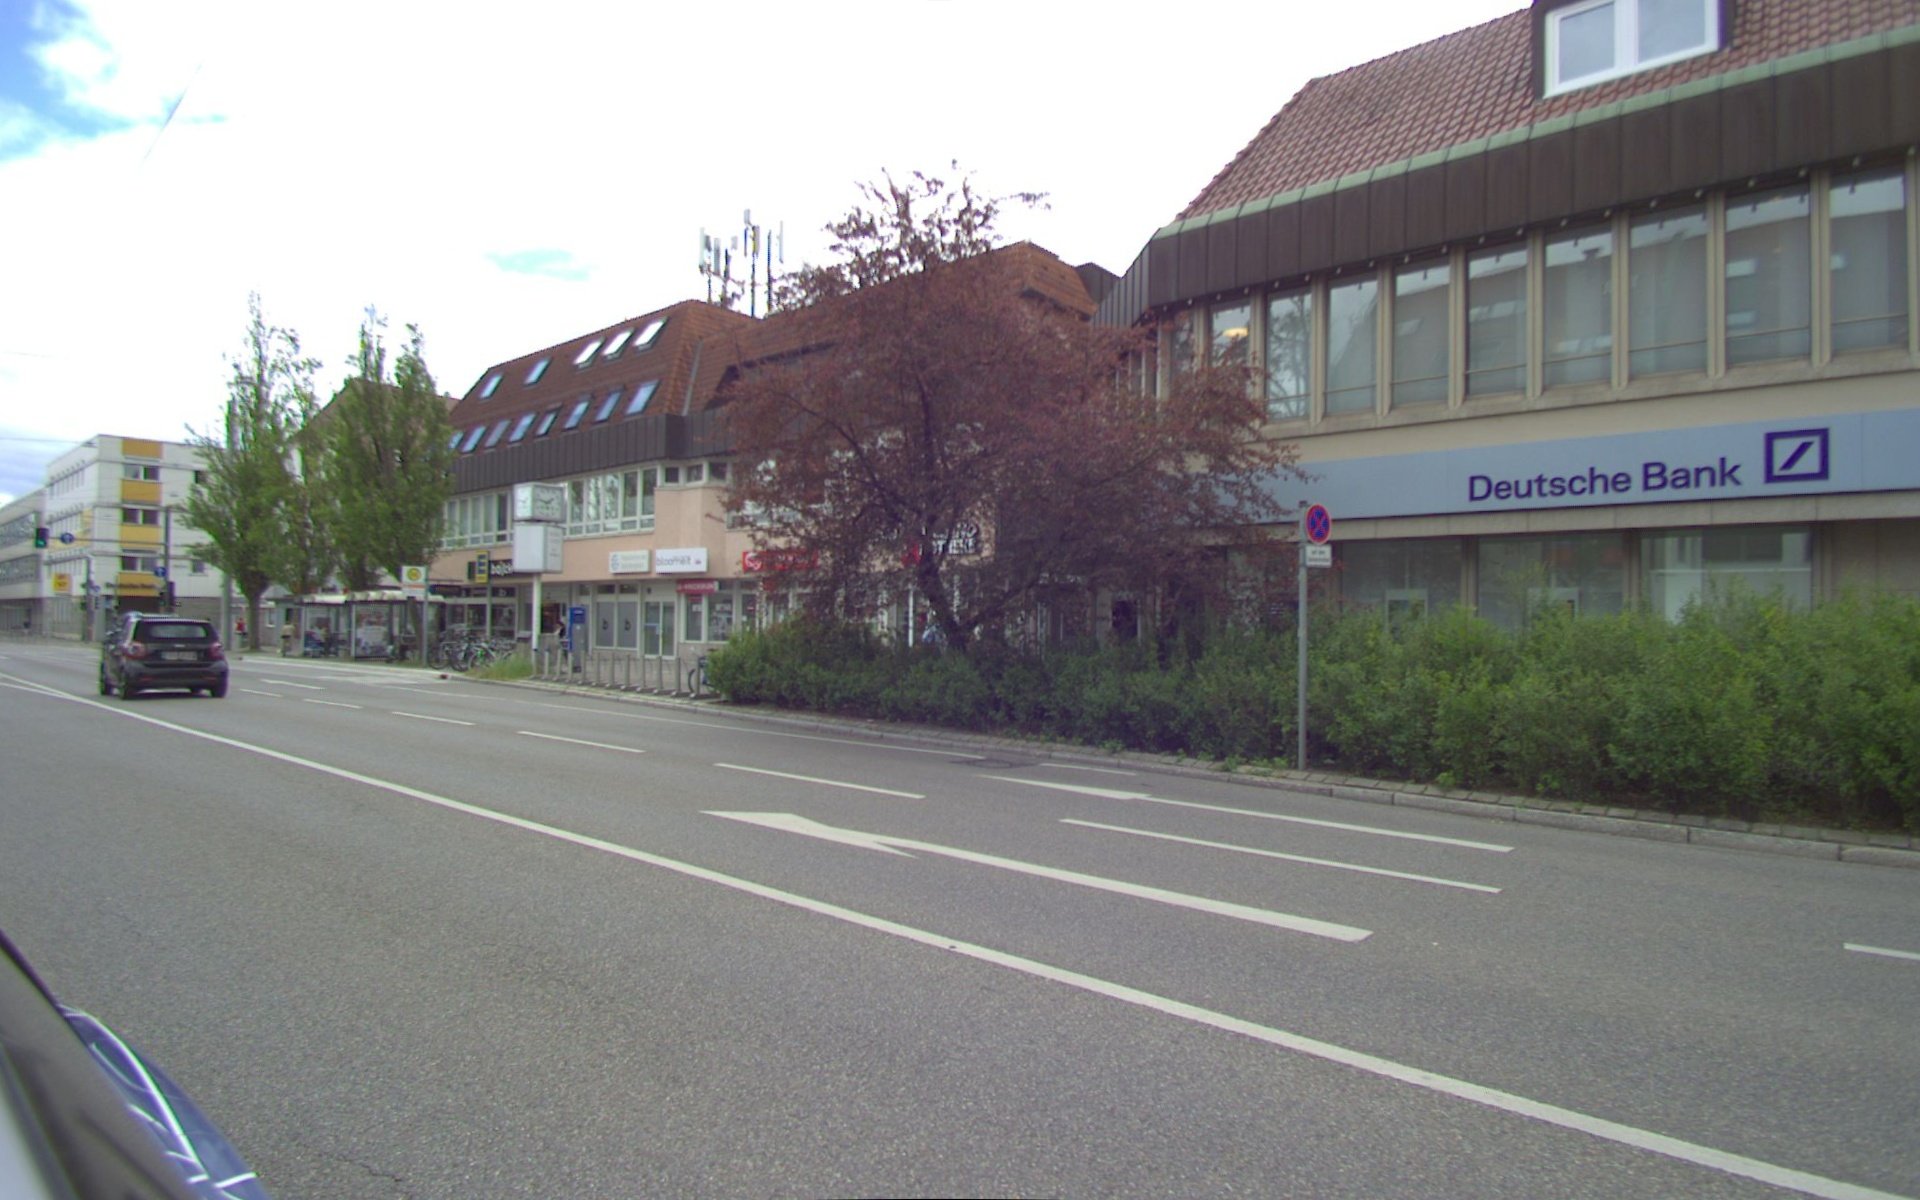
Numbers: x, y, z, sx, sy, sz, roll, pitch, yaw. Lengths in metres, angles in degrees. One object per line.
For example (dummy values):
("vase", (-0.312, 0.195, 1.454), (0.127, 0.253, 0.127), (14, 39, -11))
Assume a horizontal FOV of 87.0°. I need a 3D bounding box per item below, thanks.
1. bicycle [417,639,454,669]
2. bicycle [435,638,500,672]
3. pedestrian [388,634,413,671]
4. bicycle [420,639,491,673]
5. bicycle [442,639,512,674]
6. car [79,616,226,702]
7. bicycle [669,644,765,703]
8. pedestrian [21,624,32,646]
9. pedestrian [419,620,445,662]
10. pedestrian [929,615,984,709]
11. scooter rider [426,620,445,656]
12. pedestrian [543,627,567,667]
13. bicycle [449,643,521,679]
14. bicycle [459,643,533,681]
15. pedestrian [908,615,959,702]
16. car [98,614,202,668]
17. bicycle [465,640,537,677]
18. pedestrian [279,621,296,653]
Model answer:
("bicycle", (-19.933, 2.051, 38.447), (1.928, 1.098, 0.528), (-1, -2, 39))
("bicycle", (-16.734, 1.865, 34.434), (0.646, 1.098, 2.006), (-1, -2, 26))
("pedestrian", (-21.343, 1.993, 38.595), (0.588, 1.374, 0.704), (-3, -3, 43))
("bicycle", (-16.545, 1.827, 33.227), (0.648, 1.098, 2.000), (-1, -3, 36))
("bicycle", (-15.595, 1.798, 32.718), (0.647, 1.098, 2.003), (-1, -2, 31))
("car", (-15.844, 1.120, 19.837), (2.956, 1.552, 1.555), (-1, -3, 38))
("bicycle", (-4.835, 1.438, 20.297), (0.647, 1.098, 2.003), (-1, -2, 31))
("pedestrian", (-77.572, 2.896, 84.093), (0.526, 1.817, 0.580), (-2, 0, 40))
("pedestrian", (-22.964, 1.779, 43.979), (0.754, 1.777, 0.719), (-2, 0, 38))
("pedestrian", (-0.068, 1.208, 20.006), (0.754, 1.777, 0.719), (-2, 0, 38))
("scooter rider", (-25.611, 1.839, 49.404), (0.587, 1.725, 0.607), (-2, 0, 37))
("pedestrian", (-15.931, 1.856, 39.812), (0.587, 1.559, 0.704), (-2, -3, 40))
("bicycle", (-14.859, 1.894, 31.717), (0.647, 1.098, 2.003), (-1, -2, 31))
("bicycle", (-13.906, 1.844, 30.393), (0.647, 1.098, 2.003), (-1, -2, 31))
("pedestrian", (-0.575, 1.247, 21.857), (0.756, 1.777, 0.717), (-2, 1, 45))
("car", (-28.776, 1.449, 35.888), (4.691, 1.752, 2.047), (-1, -5, 42))
("bicycle", (-14.218, 1.789, 31.402), (0.647, 1.098, 2.003), (-1, -2, 31))
("pedestrian", (-35.725, 1.972, 53.747), (0.614, 1.647, 0.580), (-2, 0, 39))
